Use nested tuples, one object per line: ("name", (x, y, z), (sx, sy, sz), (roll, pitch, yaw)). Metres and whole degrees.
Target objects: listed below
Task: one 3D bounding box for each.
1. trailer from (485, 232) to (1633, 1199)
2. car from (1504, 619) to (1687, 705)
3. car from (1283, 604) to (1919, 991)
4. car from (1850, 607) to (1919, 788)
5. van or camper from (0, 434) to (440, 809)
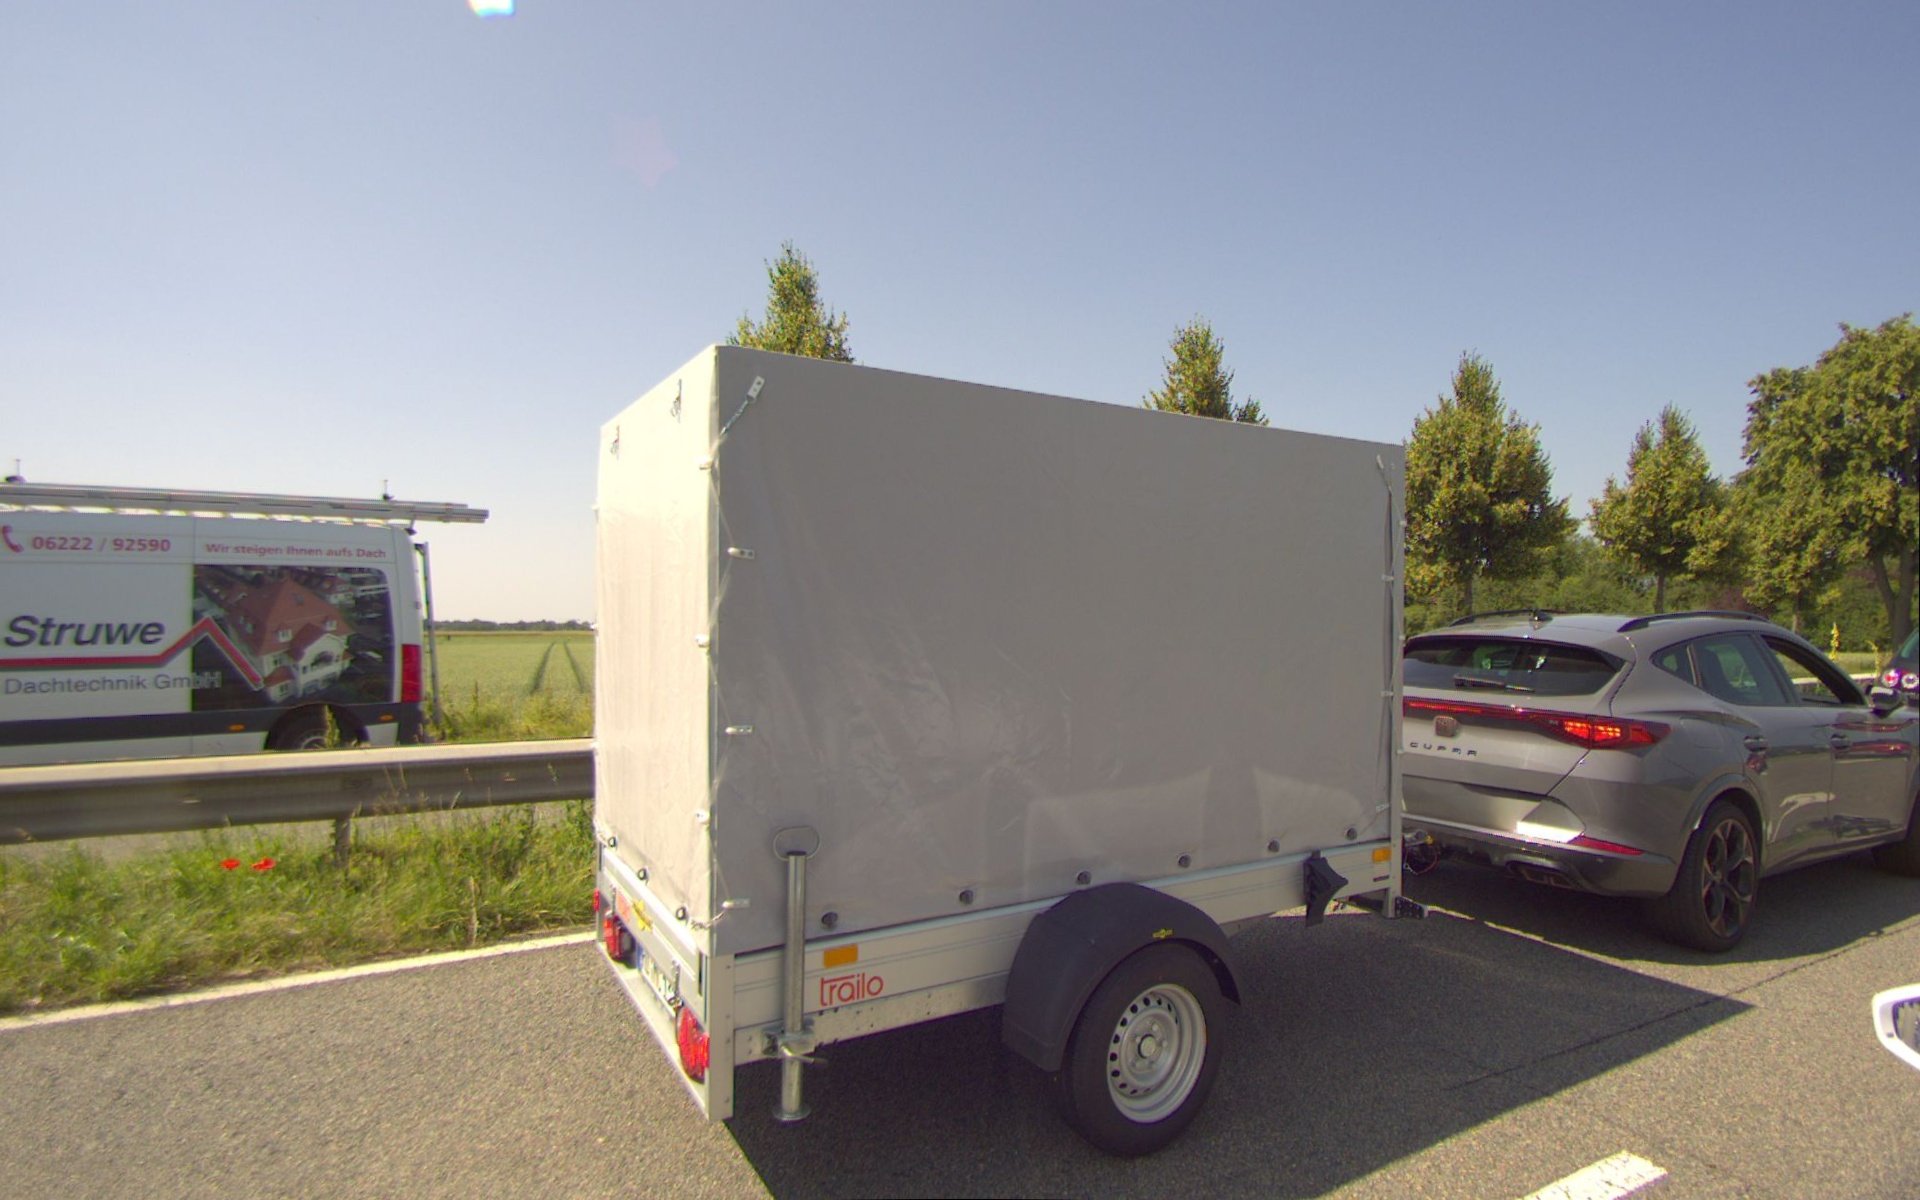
("trailer", (0.593, 0.394, 3.700), (4.125, 2.202, 1.493), (1, 0, -31))
("car", (15.281, 1.417, 24.089), (4.644, 1.880, 1.848), (1, -2, -32))
("car", (4.051, 0.806, 5.829), (4.312, 1.523, 1.737), (1, 0, -31))
("car", (10.374, 0.887, 9.554), (3.845, 1.597, 1.715), (1, 0, -30))
("van or camper", (-8.229, 0.210, 9.635), (5.631, 3.140, 2.251), (1, -1, -32))
